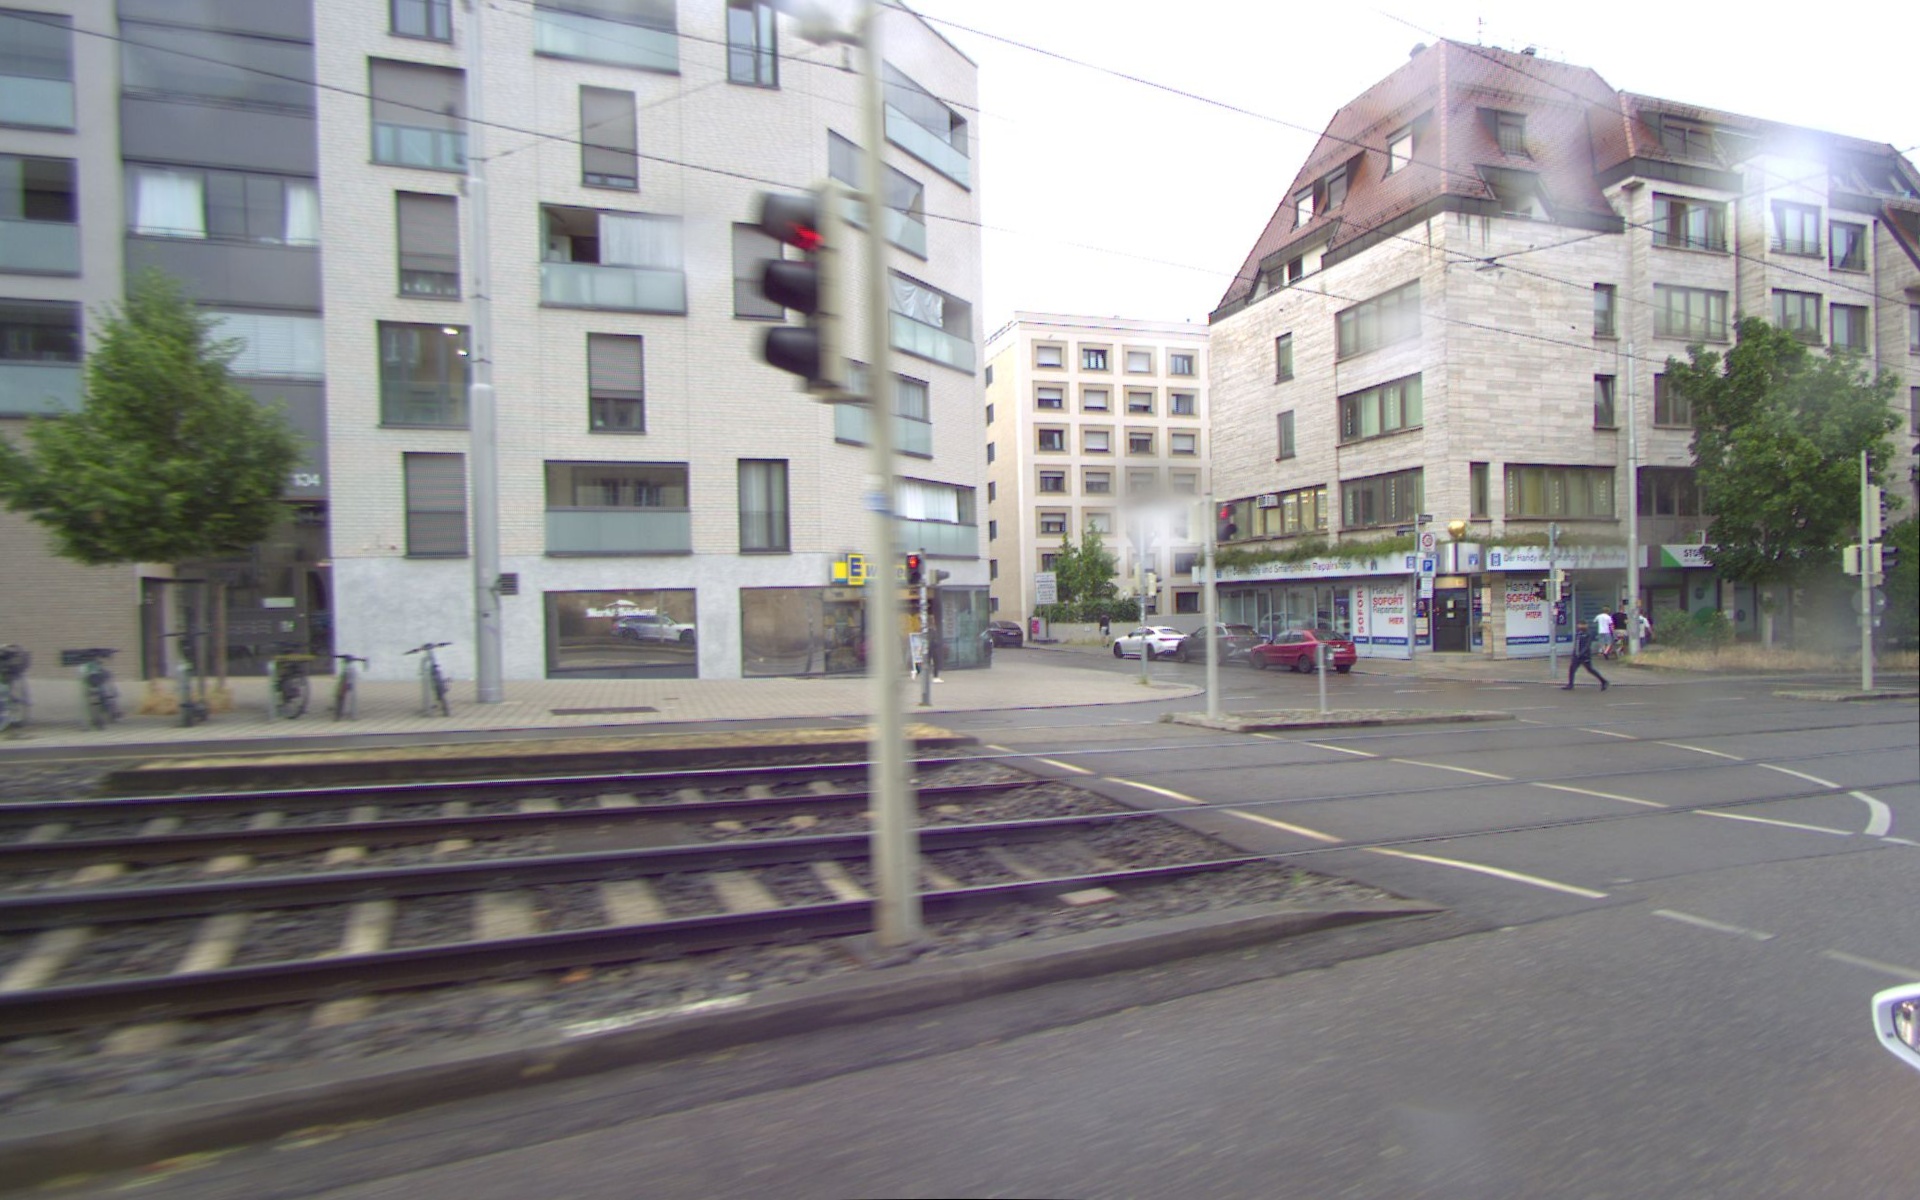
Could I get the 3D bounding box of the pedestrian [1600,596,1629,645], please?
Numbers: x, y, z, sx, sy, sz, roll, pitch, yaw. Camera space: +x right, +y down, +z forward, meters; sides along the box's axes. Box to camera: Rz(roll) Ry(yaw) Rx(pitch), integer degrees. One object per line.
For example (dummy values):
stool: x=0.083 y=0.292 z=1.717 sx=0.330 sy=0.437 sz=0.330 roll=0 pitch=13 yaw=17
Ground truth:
pedestrian: x=22.189 y=0.700 z=34.041 sx=0.577 sy=1.619 sz=0.503 roll=2 pitch=2 yaw=-21

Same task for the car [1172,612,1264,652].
car: x=9.718 y=1.175 z=38.081 sx=1.569 sy=1.335 sz=3.689 roll=2 pitch=0 yaw=-19

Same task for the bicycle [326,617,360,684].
bicycle: x=-9.342 y=0.744 z=15.229 sx=0.383 sy=0.888 sz=1.774 roll=2 pitch=1 yaw=-30

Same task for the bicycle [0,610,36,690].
bicycle: x=-12.302 y=0.616 z=12.855 sx=0.383 sy=0.930 sz=1.773 roll=2 pitch=0 yaw=-33

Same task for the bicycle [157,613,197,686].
bicycle: x=-10.956 y=0.669 z=14.068 sx=0.384 sy=0.930 sz=1.770 roll=1 pitch=0 yaw=-37

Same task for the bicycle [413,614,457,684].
bicycle: x=-8.260 y=0.745 z=15.770 sx=0.436 sy=0.993 sz=1.773 roll=2 pitch=0 yaw=-33

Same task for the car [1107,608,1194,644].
car: x=8.029 y=1.069 z=42.706 sx=1.569 sy=1.335 sz=4.482 roll=2 pitch=0 yaw=-19

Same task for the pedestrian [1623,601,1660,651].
pedestrian: x=22.269 y=0.836 z=32.834 sx=0.673 sy=1.569 sz=0.646 roll=2 pitch=2 yaw=-20

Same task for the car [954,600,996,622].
car: x=0.974 y=0.697 z=66.017 sx=1.569 sy=1.335 sz=3.689 roll=2 pitch=0 yaw=-19

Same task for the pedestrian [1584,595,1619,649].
pedestrian: x=21.529 y=0.723 z=33.715 sx=0.673 sy=1.747 sz=0.646 roll=2 pitch=2 yaw=-20

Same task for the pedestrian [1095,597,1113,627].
pedestrian: x=7.797 y=0.664 z=54.468 sx=0.640 sy=1.569 sz=0.680 roll=2 pitch=2 yaw=-20

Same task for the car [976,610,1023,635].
car: x=2.364 y=1.353 z=61.103 sx=1.569 sy=1.335 sz=3.689 roll=2 pitch=0 yaw=-19

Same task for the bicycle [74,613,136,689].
bicycle: x=-11.570 y=0.666 z=13.623 sx=0.383 sy=0.930 sz=1.773 roll=2 pitch=0 yaw=-33

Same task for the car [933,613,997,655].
car: x=0.183 y=1.573 z=47.477 sx=1.967 sy=1.617 sz=3.986 roll=2 pitch=2 yaw=-16

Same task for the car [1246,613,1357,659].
car: x=11.290 y=1.180 z=33.464 sx=1.569 sy=1.335 sz=3.689 roll=2 pitch=0 yaw=-19

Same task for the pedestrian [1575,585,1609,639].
pedestrian: x=22.566 y=0.405 z=35.856 sx=0.637 sy=1.867 sz=0.683 roll=3 pitch=2 yaw=-5

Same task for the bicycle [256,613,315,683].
bicycle: x=-10.258 y=0.704 z=15.248 sx=1.765 sy=0.930 sz=0.385 roll=3 pitch=1 yaw=45

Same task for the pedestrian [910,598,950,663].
pedestrian: x=-0.753 y=0.764 z=25.337 sx=0.637 sy=1.590 sz=0.775 roll=2 pitch=1 yaw=34

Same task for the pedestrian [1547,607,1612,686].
pedestrian: x=15.355 y=1.148 z=24.909 sx=0.947 sy=1.854 sz=0.927 roll=2 pitch=2 yaw=-27
